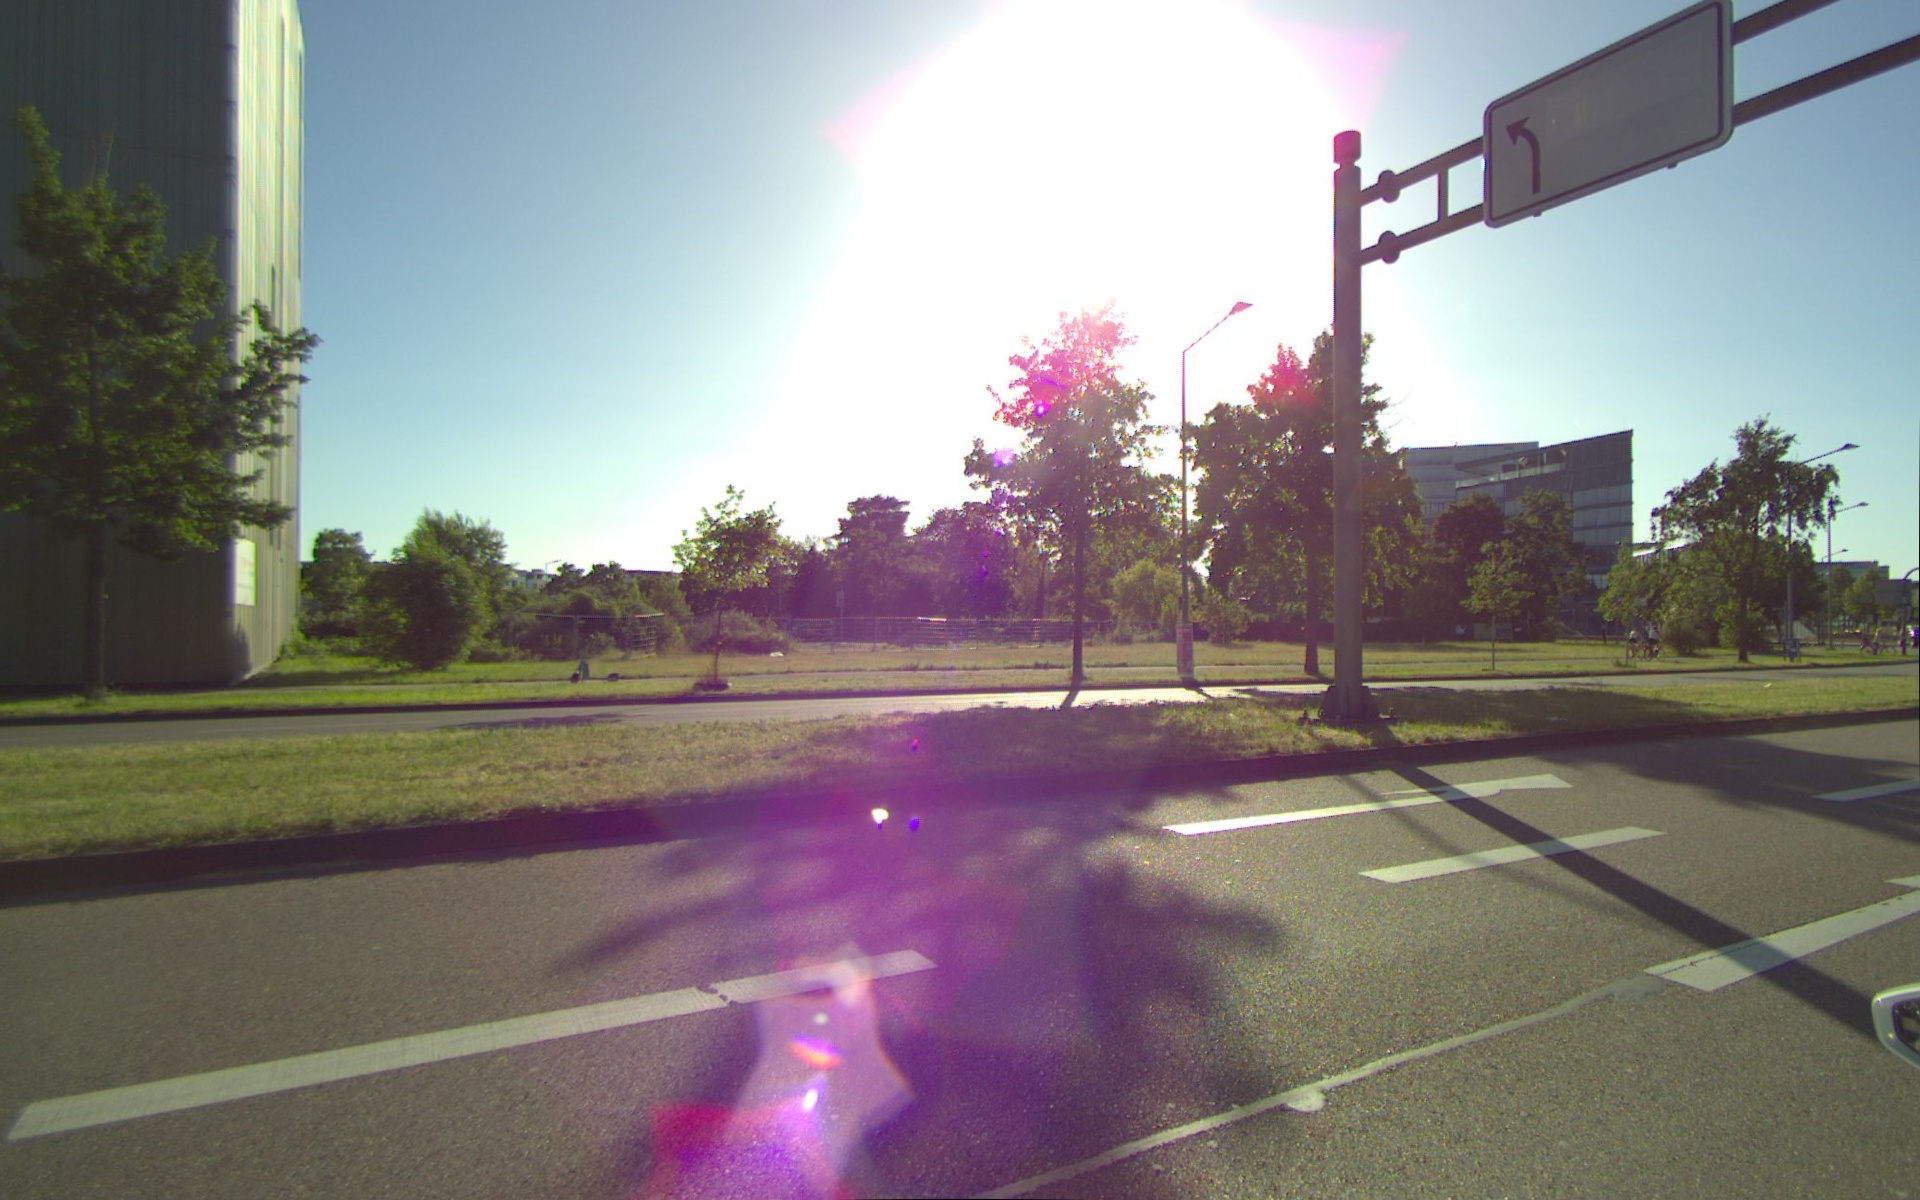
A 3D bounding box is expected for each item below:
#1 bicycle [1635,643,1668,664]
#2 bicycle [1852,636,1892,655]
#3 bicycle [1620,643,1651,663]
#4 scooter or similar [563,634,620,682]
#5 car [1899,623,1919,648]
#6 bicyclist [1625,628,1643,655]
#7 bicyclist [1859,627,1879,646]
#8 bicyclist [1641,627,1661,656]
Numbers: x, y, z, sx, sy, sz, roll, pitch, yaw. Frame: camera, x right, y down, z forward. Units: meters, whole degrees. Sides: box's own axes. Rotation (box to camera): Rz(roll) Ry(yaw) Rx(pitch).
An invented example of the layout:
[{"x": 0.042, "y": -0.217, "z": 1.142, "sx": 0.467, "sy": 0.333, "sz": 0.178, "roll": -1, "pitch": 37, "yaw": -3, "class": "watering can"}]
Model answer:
[{"x": 34.981, "y": 2.712, "z": 50.794, "sx": 2.072, "sy": 1.016, "sz": 0.567, "roll": 1, "pitch": -2, "yaw": -31, "class": "bicycle"}, {"x": 55.438, "y": 2.773, "z": 61.056, "sx": 0.595, "sy": 1.122, "sz": 1.726, "roll": 1, "pitch": -1, "yaw": -16, "class": "bicycle"}, {"x": 35.000, "y": 2.747, "z": 52.039, "sx": 2.072, "sy": 1.016, "sz": 0.484, "roll": 1, "pitch": -1, "yaw": -31, "class": "bicycle"}, {"x": -9.085, "y": 1.429, "z": 24.782, "sx": 1.312, "sy": 1.164, "sz": 0.230, "roll": 1, "pitch": -1, "yaw": -30, "class": "scooter or similar"}, {"x": 75.111, "y": 2.758, "z": 78.512, "sx": 1.611, "sy": 1.901, "sz": 3.992, "roll": -1, "pitch": -2, "yaw": 31, "class": "car"}, {"x": 34.875, "y": 2.138, "z": 51.974, "sx": 0.835, "sy": 1.413, "sz": 0.480, "roll": 1, "pitch": -1, "yaw": -31, "class": "bicyclist"}, {"x": 55.399, "y": 2.227, "z": 61.218, "sx": 0.595, "sy": 1.122, "sz": 0.734, "roll": 1, "pitch": -1, "yaw": -17, "class": "bicyclist"}, {"x": 34.936, "y": 2.097, "z": 50.780, "sx": 0.739, "sy": 1.410, "sz": 0.559, "roll": 1, "pitch": -1, "yaw": -31, "class": "bicyclist"}]
